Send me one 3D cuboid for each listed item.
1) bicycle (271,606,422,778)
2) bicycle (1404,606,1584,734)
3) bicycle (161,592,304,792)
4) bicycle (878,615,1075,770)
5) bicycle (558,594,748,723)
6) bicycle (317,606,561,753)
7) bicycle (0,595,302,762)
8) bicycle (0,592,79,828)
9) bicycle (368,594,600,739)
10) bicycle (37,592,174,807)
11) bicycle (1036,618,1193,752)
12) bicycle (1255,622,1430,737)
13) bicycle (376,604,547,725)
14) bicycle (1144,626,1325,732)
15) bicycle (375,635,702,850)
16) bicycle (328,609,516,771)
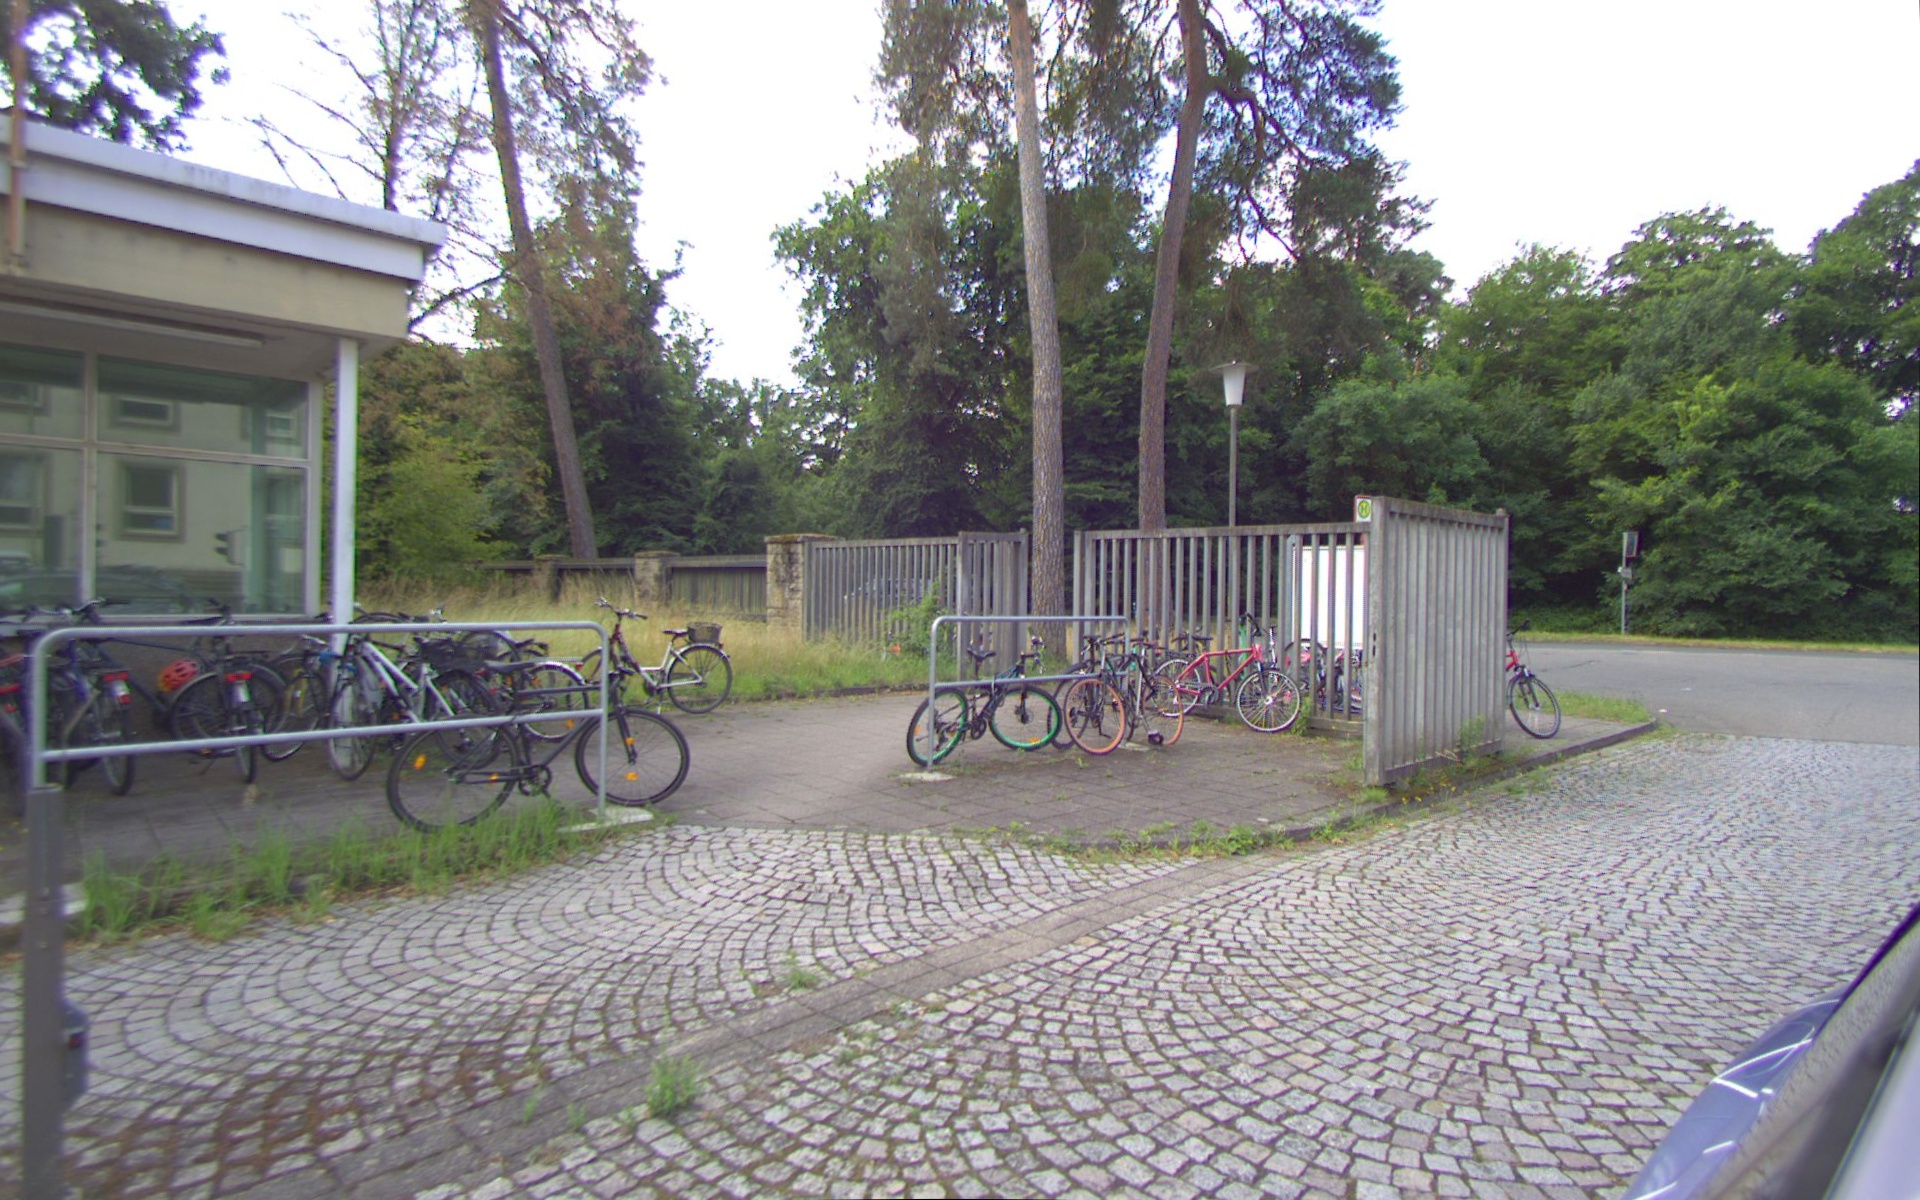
[{"bbox_3d":[-4.145,0.590,6.822,1.141,1.076,0.284,1,0,25],"label":"bicycle"},{"bbox_3d":[5.970,0.732,11.347,1.647,1.246,0.739,3,2,39],"label":"bicycle"},{"bbox_3d":[-4.938,0.559,6.835,1.610,1.155,0.351,3,2,39],"label":"bicycle"},{"bbox_3d":[0.163,0.681,8.092,1.539,1.075,0.690,0,1,-45],"label":"bicycle"},{"bbox_3d":[-2.991,0.532,9.936,1.650,1.153,0.649,0,1,-38],"label":"bicycle"},{"bbox_3d":[-4.005,0.591,7.808,1.720,1.059,0.453,1,0,7],"label":"bicycle"},{"bbox_3d":[-5.961,0.519,7.448,0.490,1.089,1.803,3,2,44],"label":"bicycle"},{"bbox_3d":[-5.515,0.567,5.867,1.610,1.155,0.321,3,2,39],"label":"bicycle"},{"bbox_3d":[-3.915,0.532,8.376,1.708,1.146,0.474,1,0,2],"label":"bicycle"},{"bbox_3d":[-5.437,0.564,6.408,1.610,1.155,0.351,3,2,39],"label":"bicycle"},{"bbox_3d":[1.428,0.718,9.146,1.704,1.070,0.473,0,1,-45],"label":"bicycle"},{"bbox_3d":[4.038,0.807,10.802,0.380,1.046,1.728,1,2,-43],"label":"bicycle"},{"bbox_3d":[-4.410,0.556,9.025,1.328,1.023,0.406,1,1,-21],"label":"bicycle"},{"bbox_3d":[2.954,0.818,11.038,1.861,0.951,0.496,3,2,41],"label":"bicycle"},{"bbox_3d":[-2.319,0.722,5.708,1.628,0.964,0.534,-1,2,-45],"label":"bicycle"},{"bbox_3d":[-3.843,0.609,7.215,1.388,1.059,0.337,1,0,20],"label":"bicycle"}]
